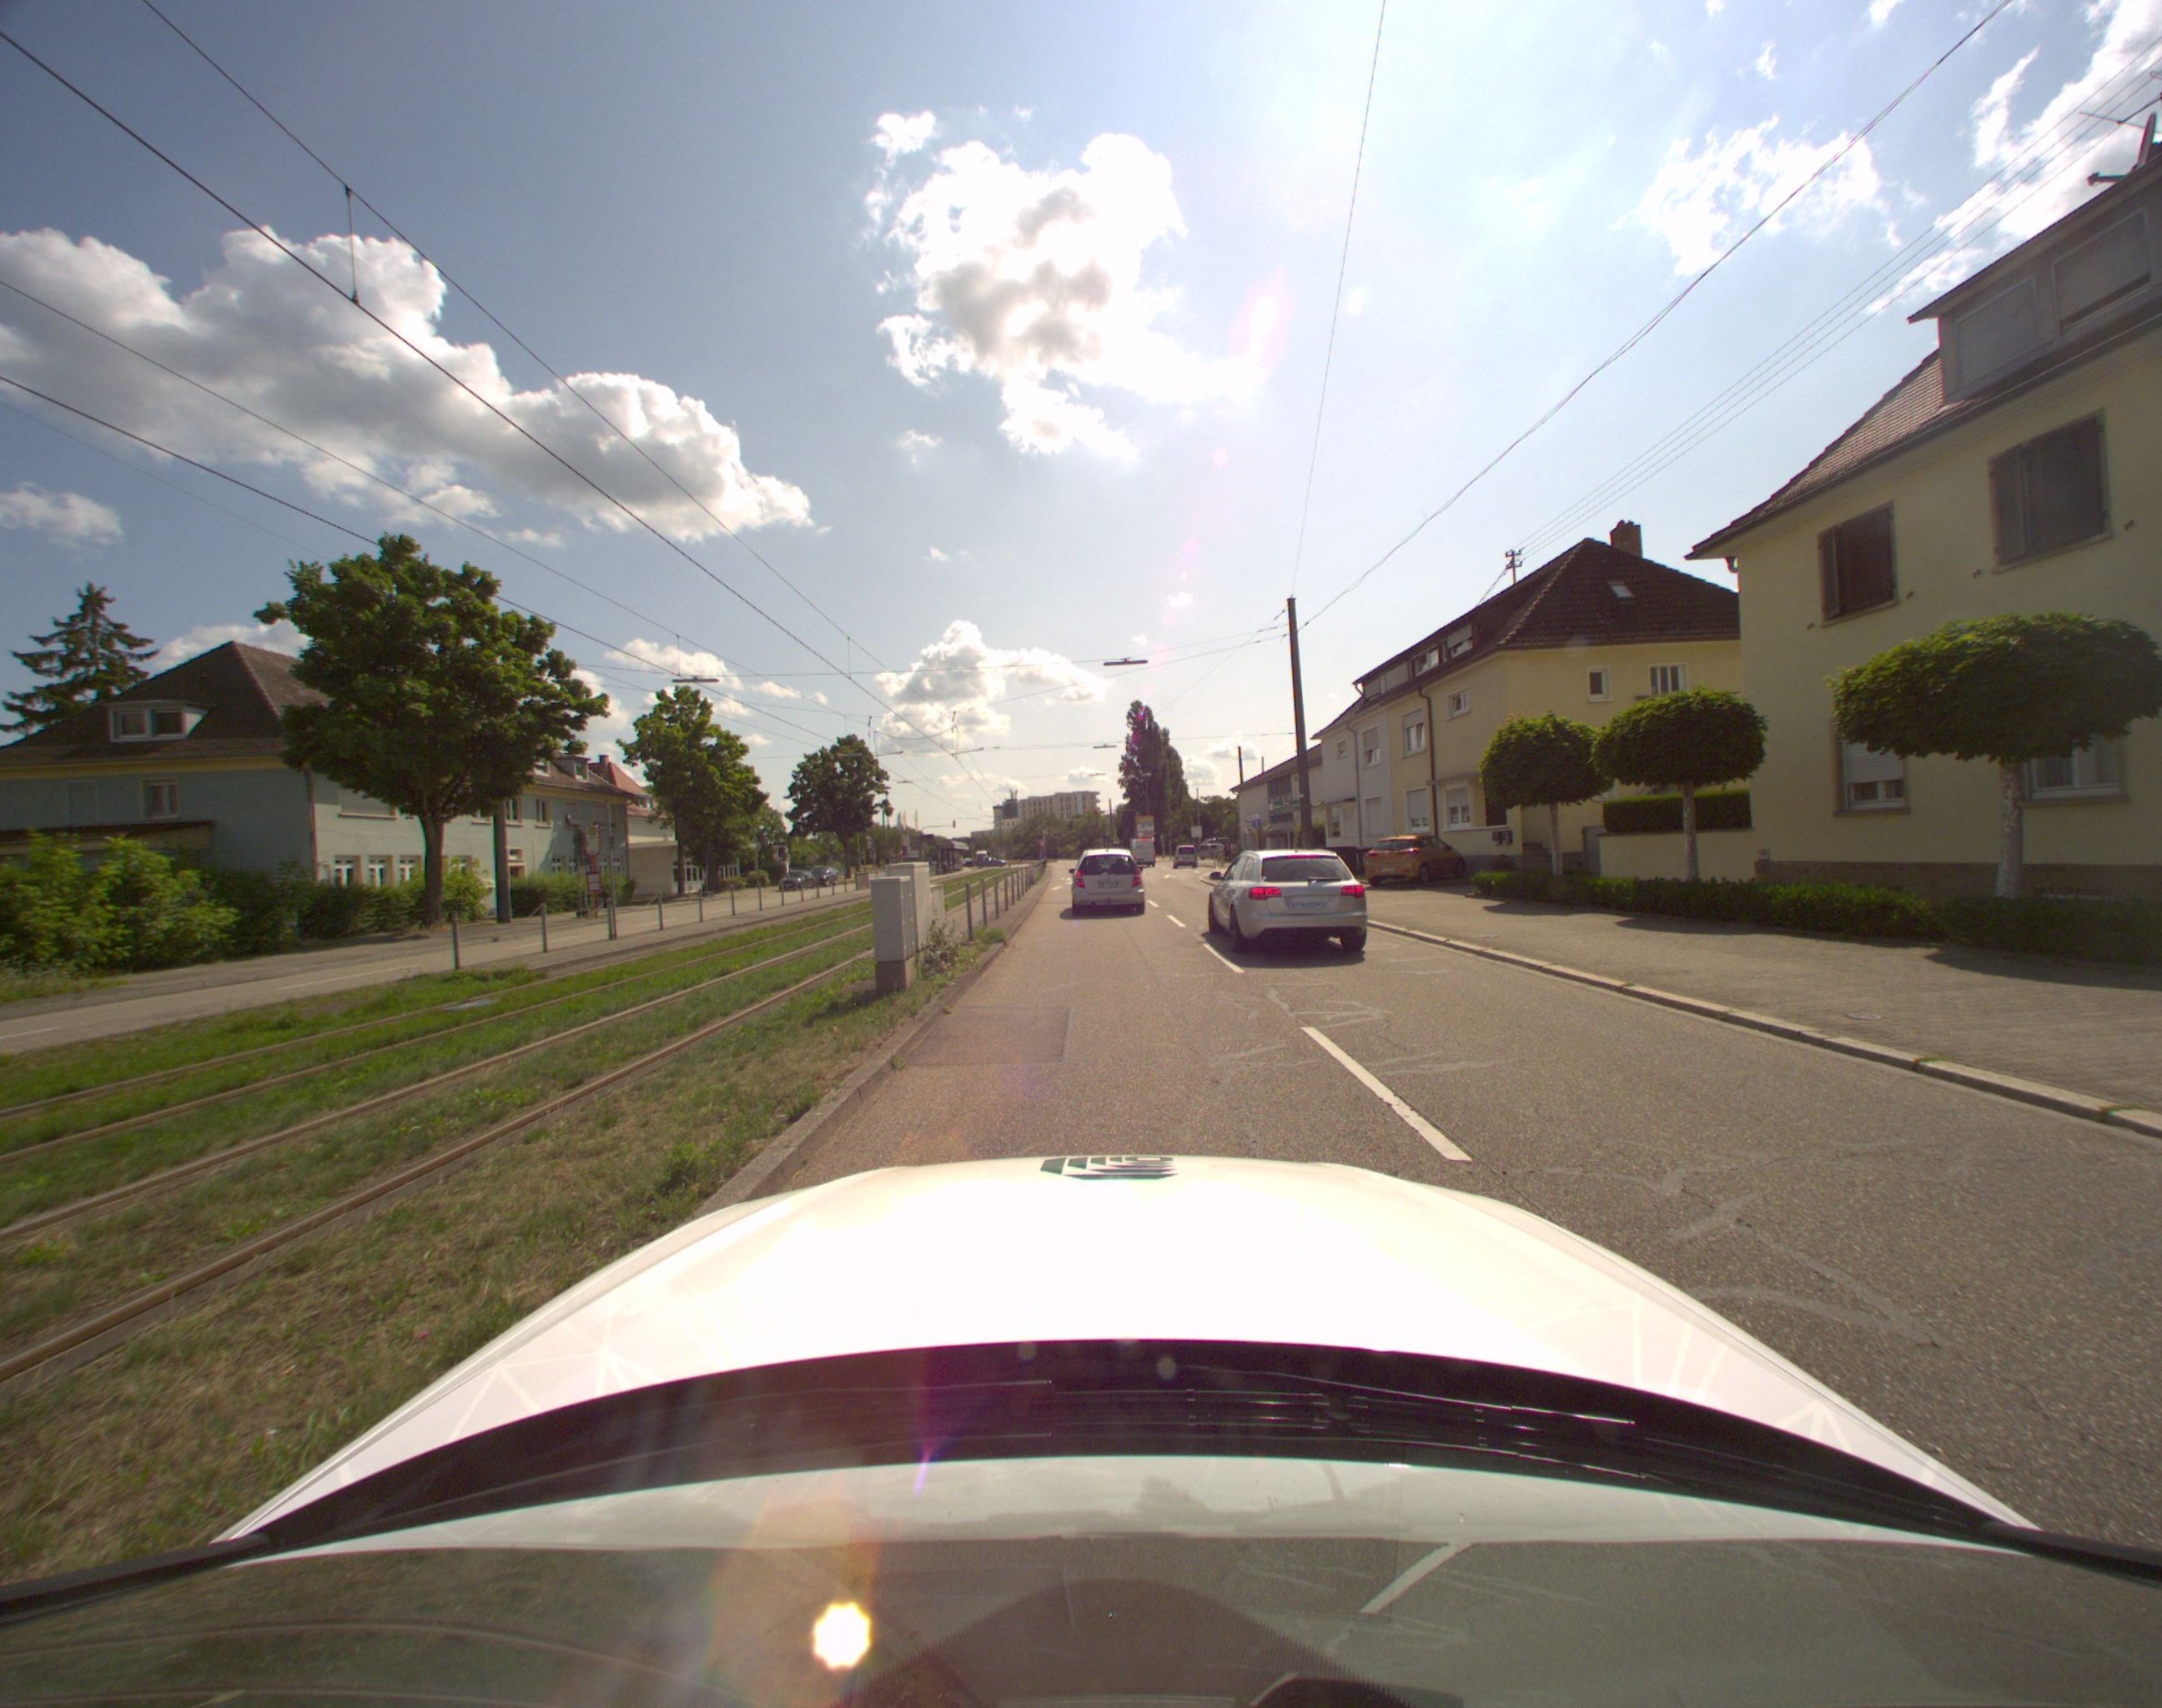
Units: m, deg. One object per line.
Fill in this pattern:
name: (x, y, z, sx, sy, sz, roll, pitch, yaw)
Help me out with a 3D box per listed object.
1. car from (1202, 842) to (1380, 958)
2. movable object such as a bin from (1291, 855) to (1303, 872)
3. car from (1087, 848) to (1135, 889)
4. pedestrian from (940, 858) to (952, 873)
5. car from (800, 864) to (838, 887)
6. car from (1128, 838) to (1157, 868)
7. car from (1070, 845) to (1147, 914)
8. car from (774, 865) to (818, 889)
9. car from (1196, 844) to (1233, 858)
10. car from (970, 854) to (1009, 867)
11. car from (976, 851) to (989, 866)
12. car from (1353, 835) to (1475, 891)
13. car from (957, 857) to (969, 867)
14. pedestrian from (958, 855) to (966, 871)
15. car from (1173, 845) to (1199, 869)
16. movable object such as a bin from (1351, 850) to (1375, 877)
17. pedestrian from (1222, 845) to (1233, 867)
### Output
car: (3.100, 0.608, 13.005, 1.847, 1.492, 4.539, -1, 0, 3)
movable object such as a bin: (11.737, 0.527, 44.231, 0.444, 0.895, 0.544, -2, 0, -7)
car: (1.173, 0.546, 32.673, 1.732, 1.492, 4.631, -1, 0, 1)
pedestrian: (-12.518, 1.066, 75.557, 1.056, 1.376, 0.860, -1, -1, -2)
car: (-20.962, 1.683, 65.346, 2.059, 1.614, 4.741, -2, 0, -8)
car: (5.595, -0.091, 74.763, 2.036, 2.557, 5.226, -2, 0, -2)
car: (0.674, 0.588, 20.877, 1.781, 1.577, 4.095, 0, 0, 1)
car: (-20.658, 1.671, 59.124, 1.781, 1.584, 3.930, -2, 0, 0)
car: (15.608, -0.337, 95.369, 4.109, 1.637, 1.872, 0, -1, -32)
car: (-12.174, 0.886, 108.793, 4.846, 1.660, 2.000, -1, -1, 1)
car: (-17.191, 0.848, 142.456, 1.990, 2.606, 4.871, -1, -1, -4)
car: (10.421, 0.230, 25.349, 4.116, 1.458, 1.893, -4, 2, -42)
car: (-19.937, 1.381, 137.500, 1.894, 1.541, 3.721, -1, -1, -6)
pedestrian: (-13.761, 1.046, 94.033, 0.809, 1.795, 0.705, -2, 0, -15)
car: (8.401, 0.256, 65.073, 1.874, 1.731, 4.103, -3, -1, 8)
movable object such as a bin: (10.990, 0.370, 31.758, 0.636, 1.047, 0.684, -2, 0, -2)
pedestrian: (12.561, 0.173, 69.872, 0.719, 1.782, 0.703, -5, 0, 0)
